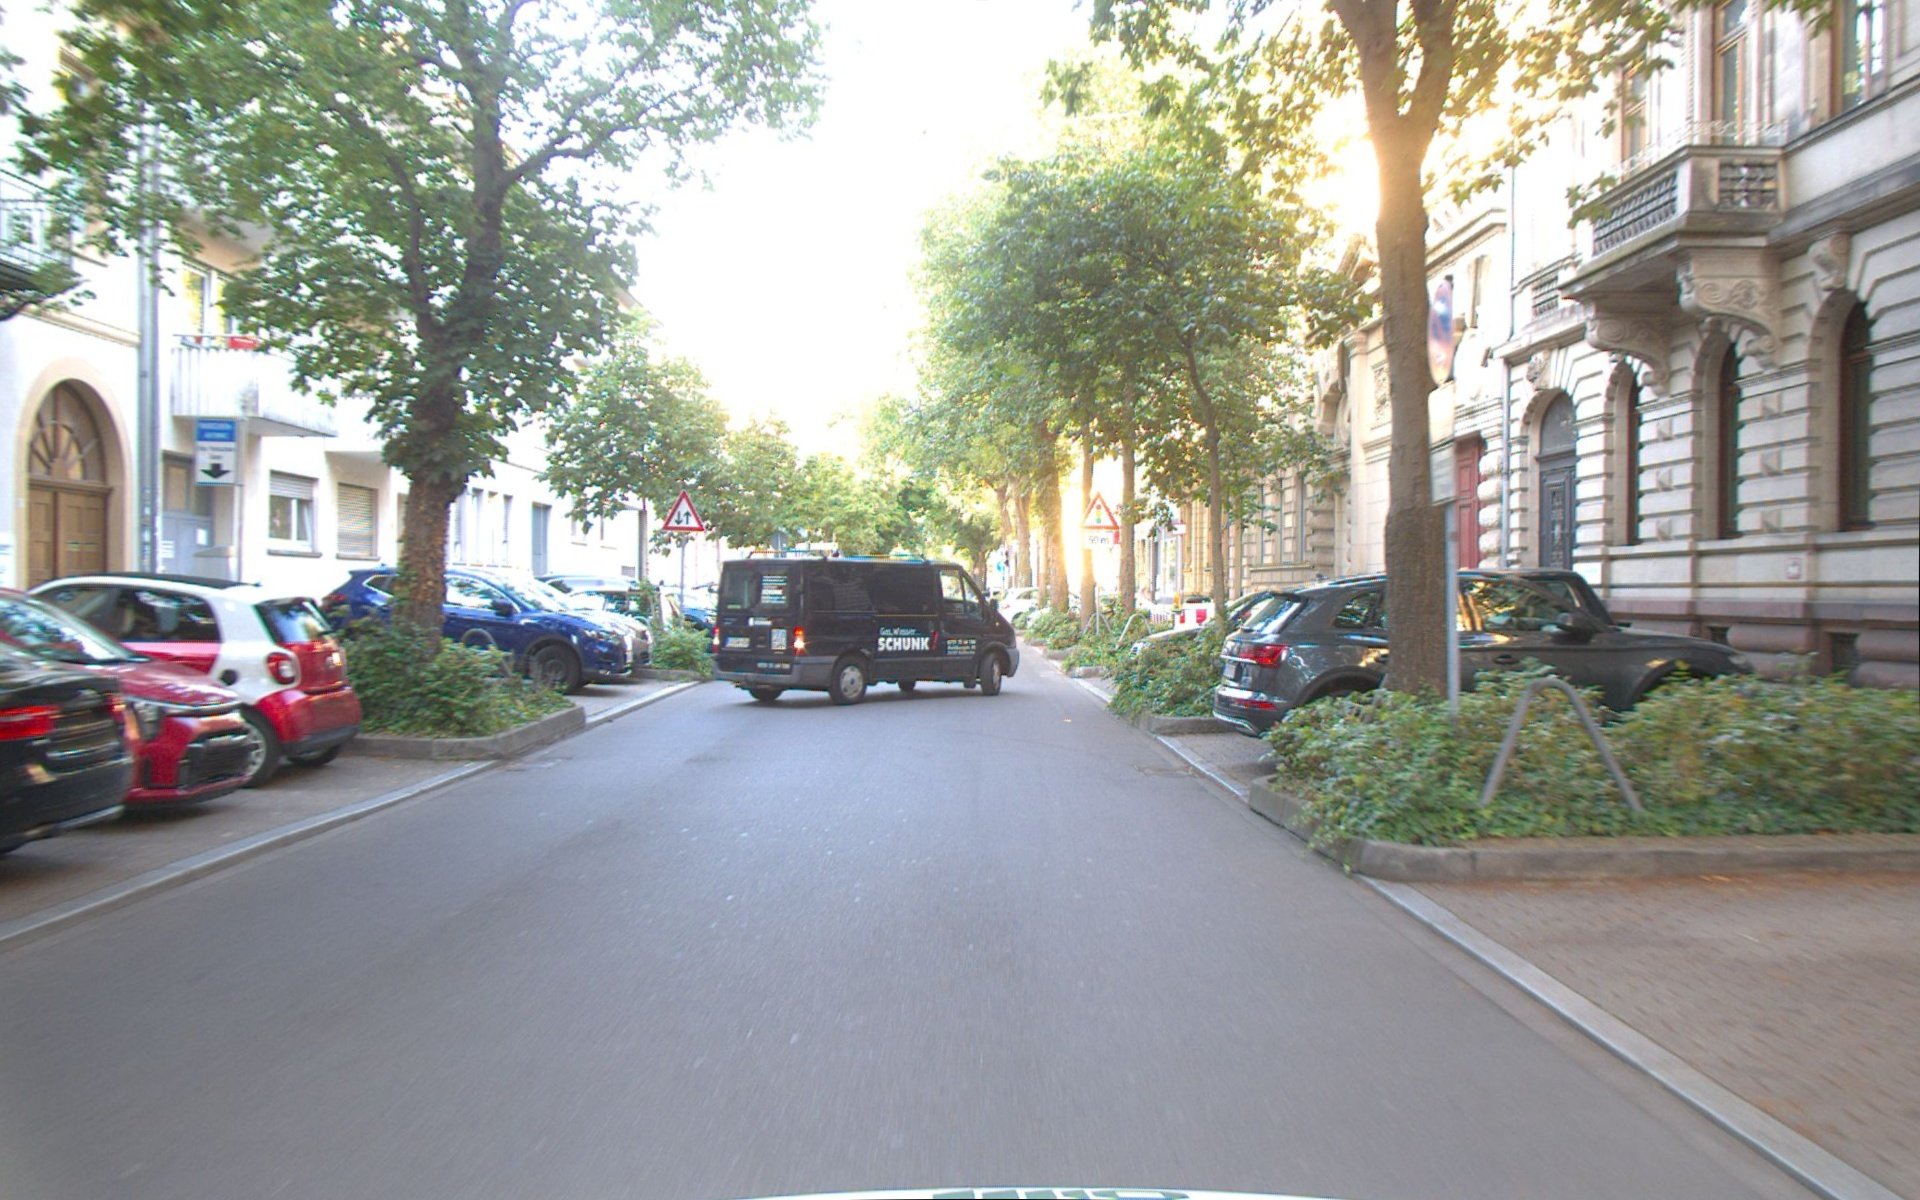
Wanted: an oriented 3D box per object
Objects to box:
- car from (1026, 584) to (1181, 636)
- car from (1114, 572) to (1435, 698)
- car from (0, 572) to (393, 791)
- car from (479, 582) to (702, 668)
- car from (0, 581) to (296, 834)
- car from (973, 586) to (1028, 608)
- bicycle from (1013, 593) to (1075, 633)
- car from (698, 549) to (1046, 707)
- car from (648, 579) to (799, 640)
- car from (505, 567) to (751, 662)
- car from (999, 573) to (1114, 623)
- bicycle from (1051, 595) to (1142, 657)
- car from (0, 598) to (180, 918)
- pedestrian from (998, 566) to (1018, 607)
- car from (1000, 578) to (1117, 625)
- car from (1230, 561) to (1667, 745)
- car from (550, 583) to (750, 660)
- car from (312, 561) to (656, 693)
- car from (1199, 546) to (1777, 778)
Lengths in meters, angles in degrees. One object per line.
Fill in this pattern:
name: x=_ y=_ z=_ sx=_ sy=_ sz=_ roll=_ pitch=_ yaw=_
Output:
car: x=4.234 y=0.283 z=49.409 sx=4.489 sy=1.462 sz=1.925 roll=-1 pitch=1 yaw=1
car: x=4.367 y=0.464 z=23.418 sx=4.138 sy=1.507 sz=1.854 roll=-3 pitch=0 yaw=-1
car: x=-7.059 y=0.590 z=13.370 sx=4.266 sy=1.566 sz=1.771 roll=2 pitch=-1 yaw=-1
car: x=-6.892 y=0.443 z=31.121 sx=3.767 sy=1.476 sz=1.855 roll=1 pitch=1 yaw=-1
car: x=-6.536 y=0.618 z=10.874 sx=3.609 sy=1.474 sz=1.659 roll=2 pitch=0 yaw=-1
car: x=3.063 y=-0.230 z=125.863 sx=4.107 sy=1.506 sz=1.852 roll=-2 pitch=0 yaw=-1
bicycle: x=2.787 y=0.426 z=54.905 sx=1.985 sy=1.225 sz=0.487 roll=-2 pitch=0 yaw=-14
car: x=-1.145 y=0.319 z=23.828 sx=2.151 sy=2.025 sz=4.976 roll=1 pitch=1 yaw=42
car: x=-6.712 y=0.259 z=47.339 sx=4.009 sy=1.660 sz=1.936 roll=1 pitch=0 yaw=0
car: x=-6.694 y=0.281 z=33.761 sx=4.571 sy=1.796 sz=2.156 roll=1 pitch=0 yaw=-2
car: x=3.906 y=-0.084 z=67.293 sx=4.450 sy=1.948 sz=1.949 roll=-1 pitch=0 yaw=-3
bicycle: x=3.141 y=0.597 z=38.144 sx=2.005 sy=1.384 sz=0.508 roll=1 pitch=0 yaw=-3
car: x=-6.451 y=0.661 z=8.141 sx=4.337 sy=1.431 sz=1.716 roll=2 pitch=-1 yaw=-5
pedestrian: x=2.582 y=-0.717 z=89.230 sx=1.022 sy=2.184 sz=1.063 roll=1 pitch=-1 yaw=-1
car: x=3.535 y=0.048 z=59.674 sx=4.136 sy=1.587 sz=1.971 roll=-1 pitch=1 yaw=2
car: x=4.863 y=0.497 z=16.840 sx=3.926 sy=1.716 sz=1.765 roll=-1 pitch=1 yaw=-1
car: x=-6.734 y=0.451 z=36.169 sx=3.945 sy=1.520 sz=1.781 roll=2 pitch=0 yaw=2
car: x=-6.668 y=0.364 z=23.528 sx=4.266 sy=1.600 sz=1.930 roll=3 pitch=0 yaw=-1
car: x=4.420 y=0.502 z=14.355 sx=4.350 sy=1.748 sz=1.968 roll=-2 pitch=0 yaw=-1
